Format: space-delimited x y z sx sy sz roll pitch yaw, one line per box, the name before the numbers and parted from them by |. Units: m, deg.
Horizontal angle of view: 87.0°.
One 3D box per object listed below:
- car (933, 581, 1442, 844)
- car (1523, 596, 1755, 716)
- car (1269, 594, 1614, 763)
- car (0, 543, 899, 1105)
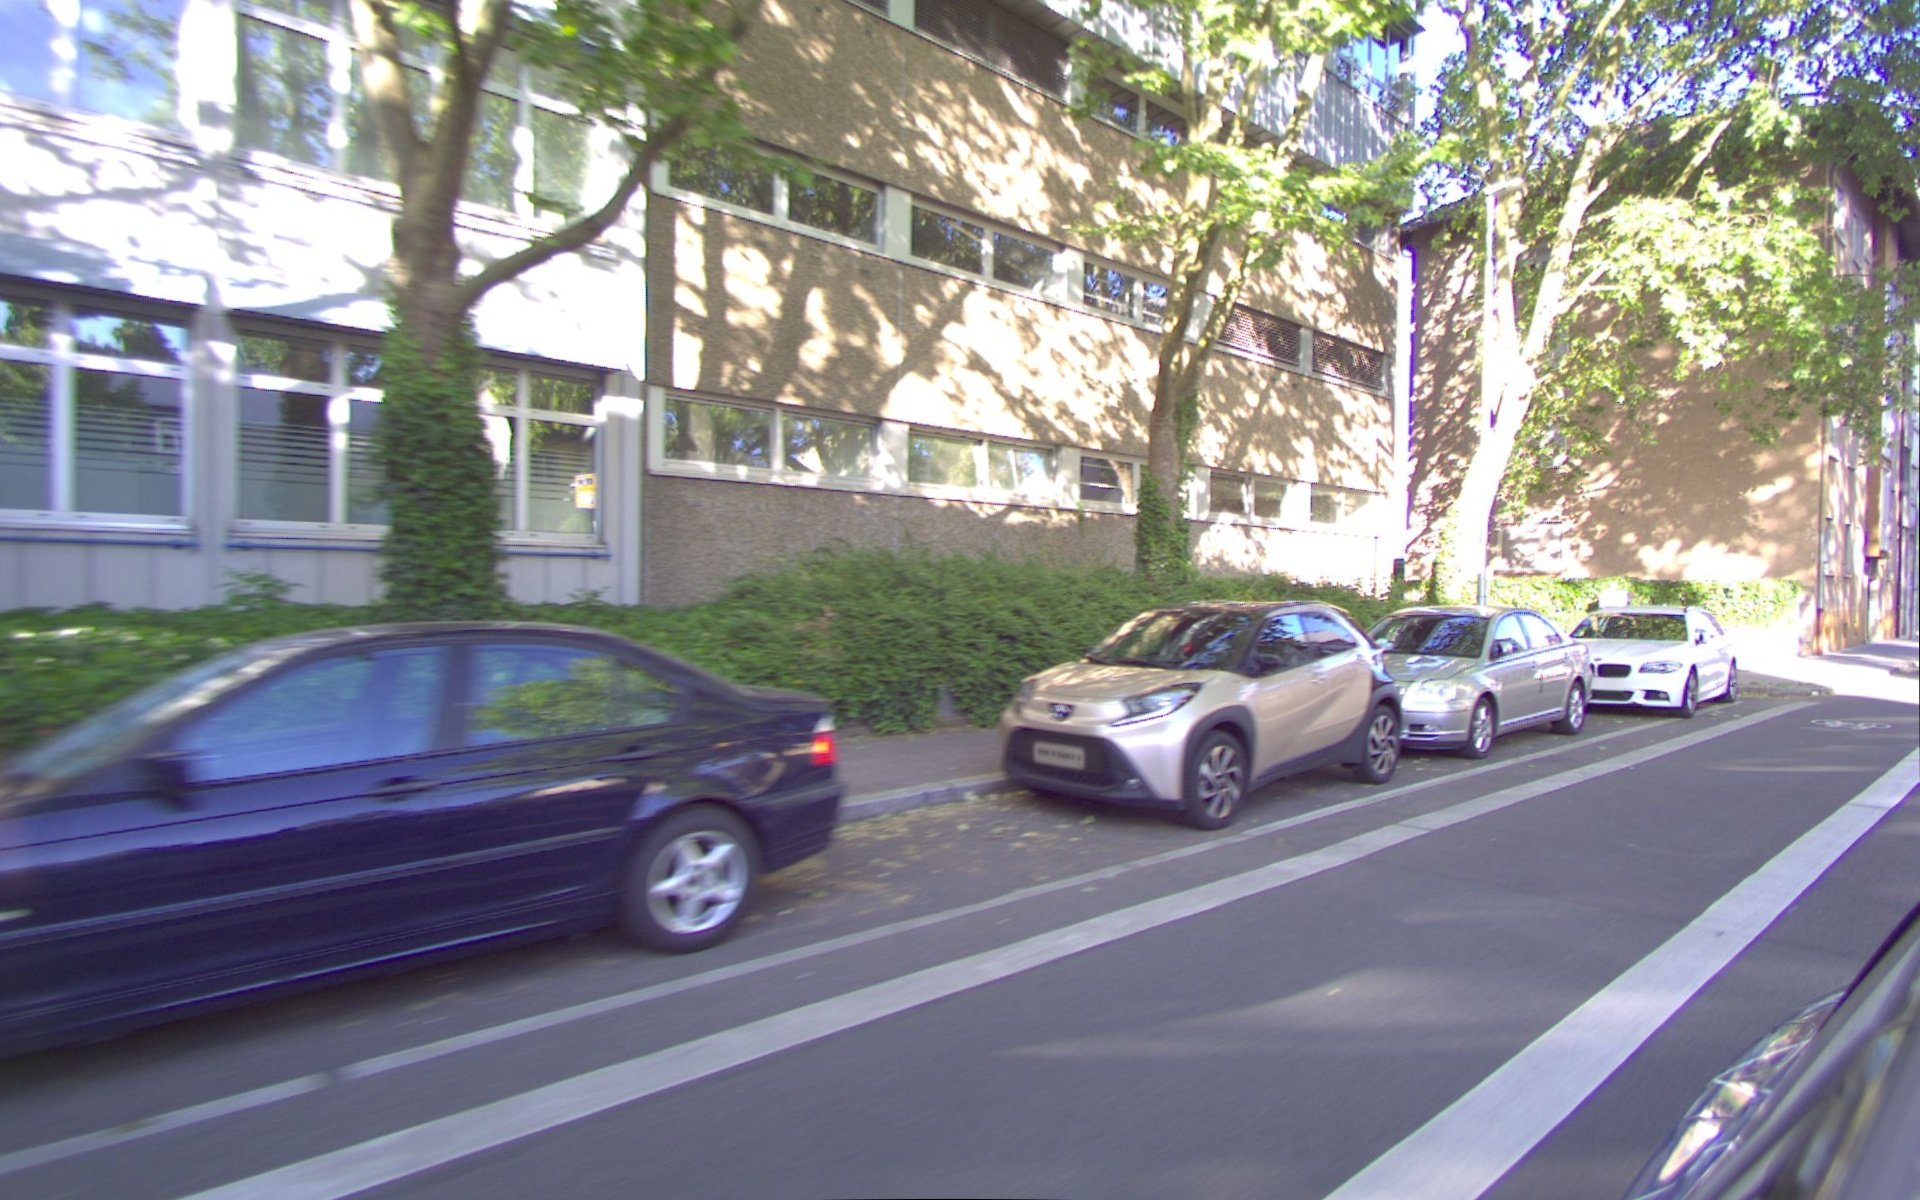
car | 1.992 0.635 8.073 4.223 1.542 1.858 -1 1 -42
car | 10.067 0.710 14.830 4.888 1.455 1.856 1 0 -44
car | 5.467 0.683 11.201 4.523 1.454 1.858 -1 1 -42
car | -2.592 0.610 4.070 4.520 1.542 1.858 -1 0 -42
